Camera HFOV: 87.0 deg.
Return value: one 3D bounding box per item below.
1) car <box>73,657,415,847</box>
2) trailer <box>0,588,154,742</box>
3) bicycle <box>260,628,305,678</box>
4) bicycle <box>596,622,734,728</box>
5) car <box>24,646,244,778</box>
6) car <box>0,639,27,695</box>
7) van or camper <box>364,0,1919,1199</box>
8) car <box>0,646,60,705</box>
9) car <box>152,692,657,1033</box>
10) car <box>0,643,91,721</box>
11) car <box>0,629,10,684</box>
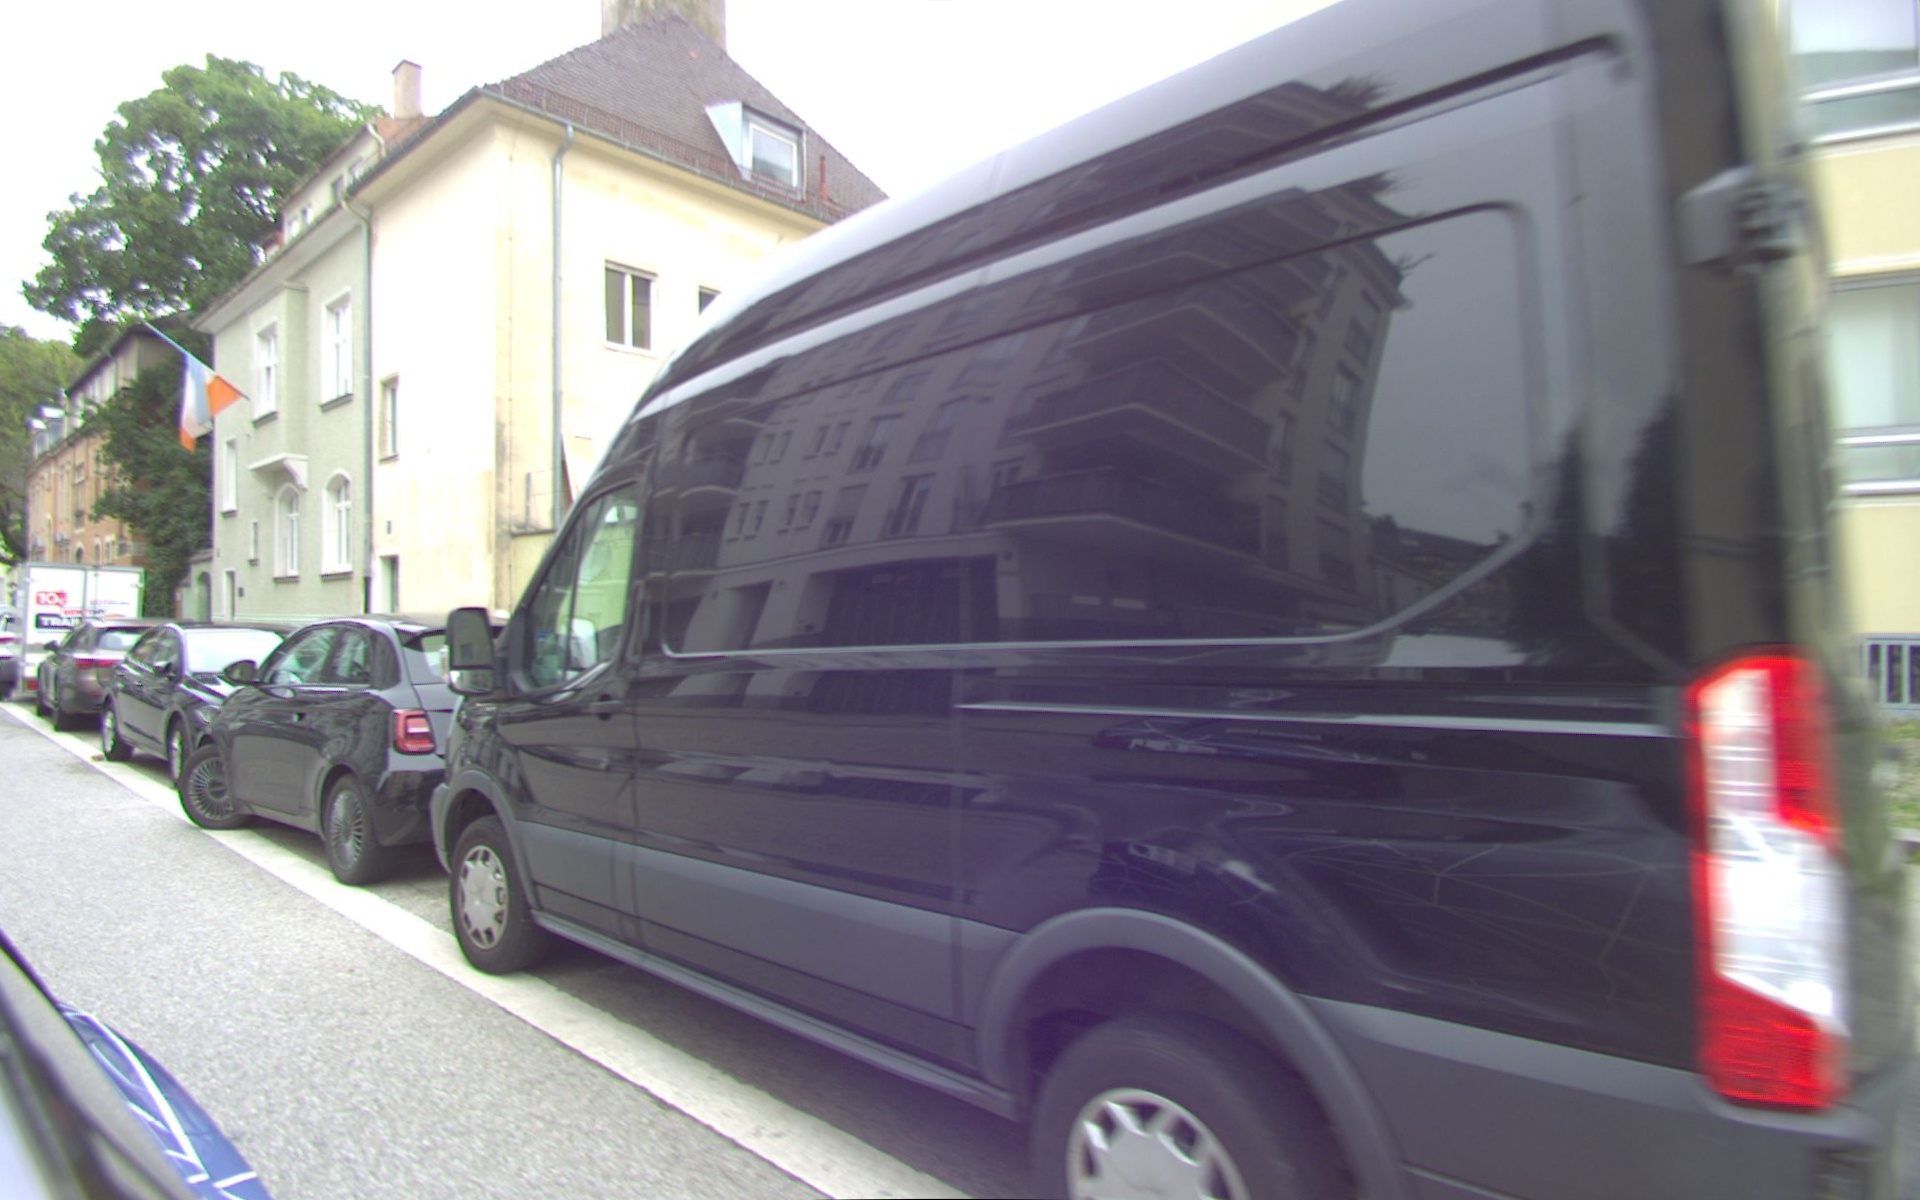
[{"bbox_3d":[-7.272,1.332,10.123,4.281,1.447,1.659,-2,-3,39],"label":"car"},{"bbox_3d":[-16.514,1.143,18.706,1.953,2.490,4.579,4,-4,-45],"label":"trailer"},{"bbox_3d":[-15.653,1.200,23.359,1.522,1.093,0.455,-1,1,41],"label":"bicycle"},{"bbox_3d":[-3.759,0.903,12.825,1.867,1.243,0.794,-1,-1,41],"label":"bicycle"},{"bbox_3d":[-12.083,1.466,14.658,5.092,1.553,1.843,-2,-3,44],"label":"car"},{"bbox_3d":[-28.304,1.918,29.224,3.519,1.479,1.609,0,-1,41],"label":"car"},{"bbox_3d":[-0.031,0.444,3.806,5.561,2.671,2.268,-2,-3,43],"label":"van or camper"},{"bbox_3d":[-24.445,1.889,25.774,4.400,1.378,1.727,-2,-3,41],"label":"car"},{"bbox_3d":[-3.957,1.488,6.964,3.903,1.508,1.637,-2,-3,38],"label":"car"},{"bbox_3d":[-20.340,1.709,21.972,4.105,1.542,1.661,-2,-3,41],"label":"car"},{"bbox_3d":[-32.883,1.869,33.477,4.248,1.769,1.697,-2,-3,41],"label":"car"}]
